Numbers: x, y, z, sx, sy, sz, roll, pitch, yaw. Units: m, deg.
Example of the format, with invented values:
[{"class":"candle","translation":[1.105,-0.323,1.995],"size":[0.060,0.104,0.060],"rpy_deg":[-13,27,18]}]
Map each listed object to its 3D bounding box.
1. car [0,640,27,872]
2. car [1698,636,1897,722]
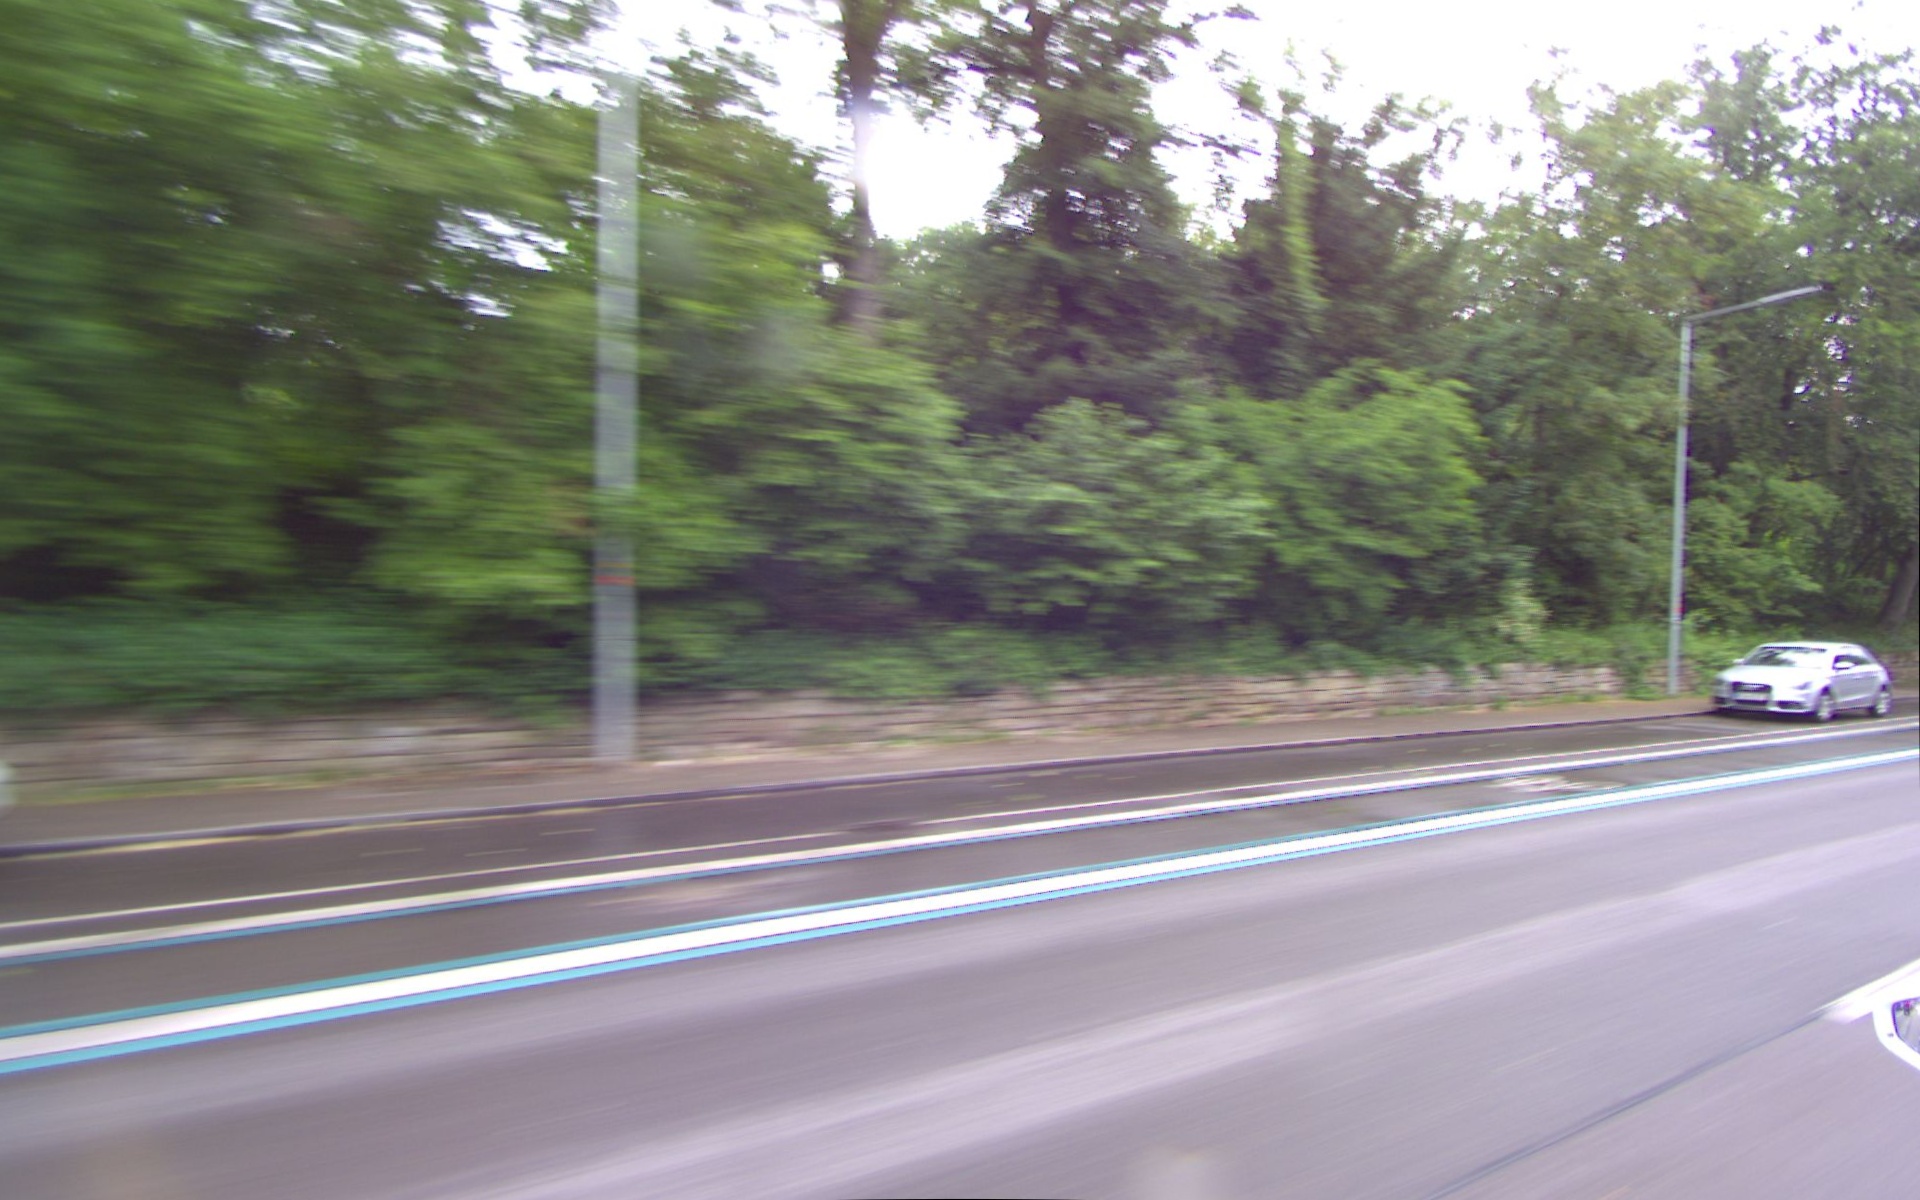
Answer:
[{"class":"car","translation":[-7.679,0.953,4.883],"size":[4.308,1.454,1.745],"rpy_deg":[1,-1,-32]},{"class":"car","translation":[16.095,1.438,19.269],"size":[3.979,1.424,1.682],"rpy_deg":[1,0,-30]}]
